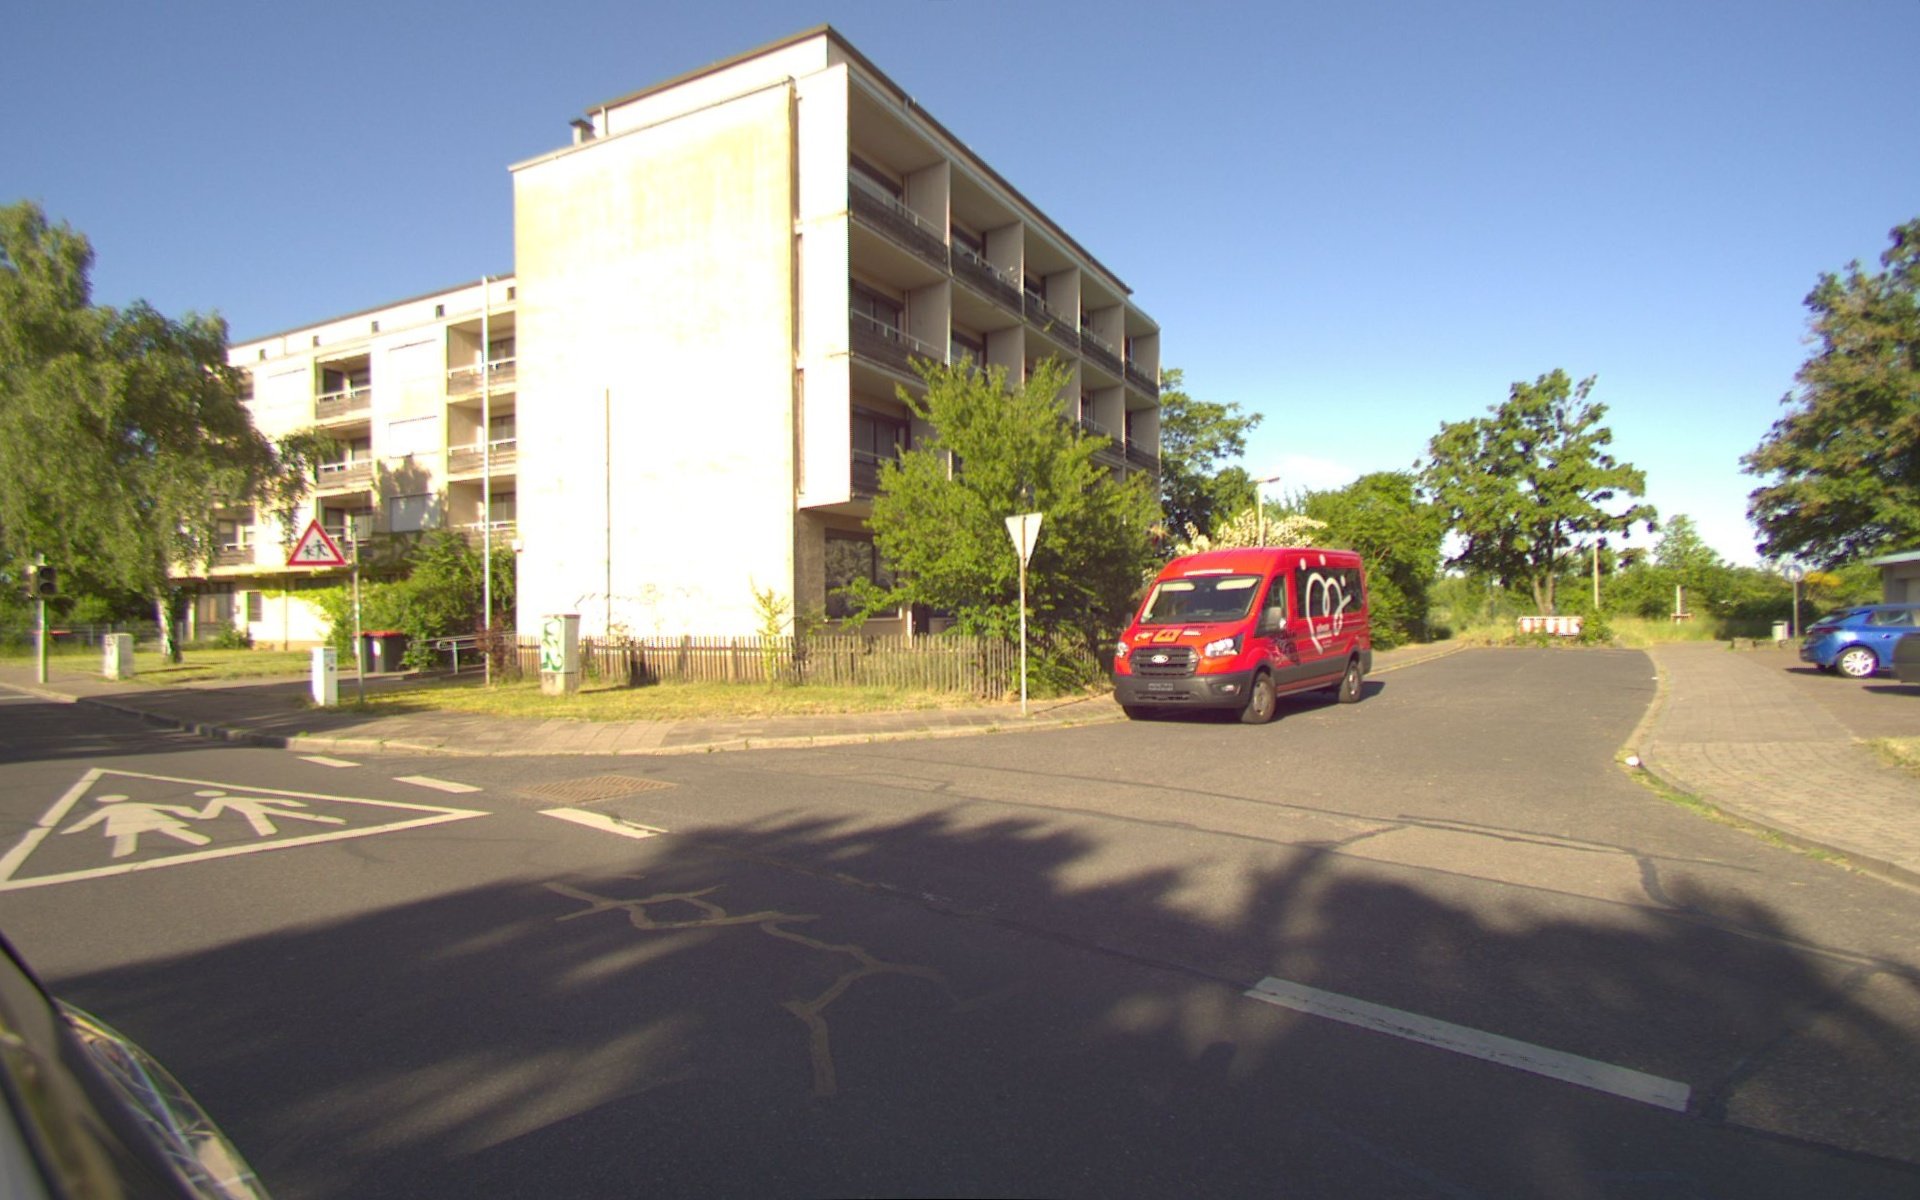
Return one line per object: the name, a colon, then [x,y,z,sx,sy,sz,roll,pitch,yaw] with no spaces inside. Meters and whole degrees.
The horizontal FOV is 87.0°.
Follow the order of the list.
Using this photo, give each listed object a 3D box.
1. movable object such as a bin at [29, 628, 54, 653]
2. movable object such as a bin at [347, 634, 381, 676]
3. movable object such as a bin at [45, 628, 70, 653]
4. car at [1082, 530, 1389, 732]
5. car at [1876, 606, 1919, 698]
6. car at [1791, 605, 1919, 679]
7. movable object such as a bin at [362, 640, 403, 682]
movable object such as a bin: [-38.496,1.708,42.426,0.709,1.032,0.616,-2,-2,33]
movable object such as a bin: [-15.524,1.432,26.363,0.552,1.061,0.561,-1,-1,18]
movable object such as a bin: [-38.237,1.725,42.869,0.709,1.032,0.616,-2,-2,33]
car: [4.376,0.478,15.236,2.211,2.447,5.845,-4,-3,39]
car: [16.525,0.698,14.760,4.355,1.367,1.937,-3,-2,33]
car: [19.132,0.814,19.878,4.014,1.399,1.828,-1,-2,29]
movable object such as a bin: [-14.921,1.559,26.147,0.696,1.056,0.625,-1,-1,17]
